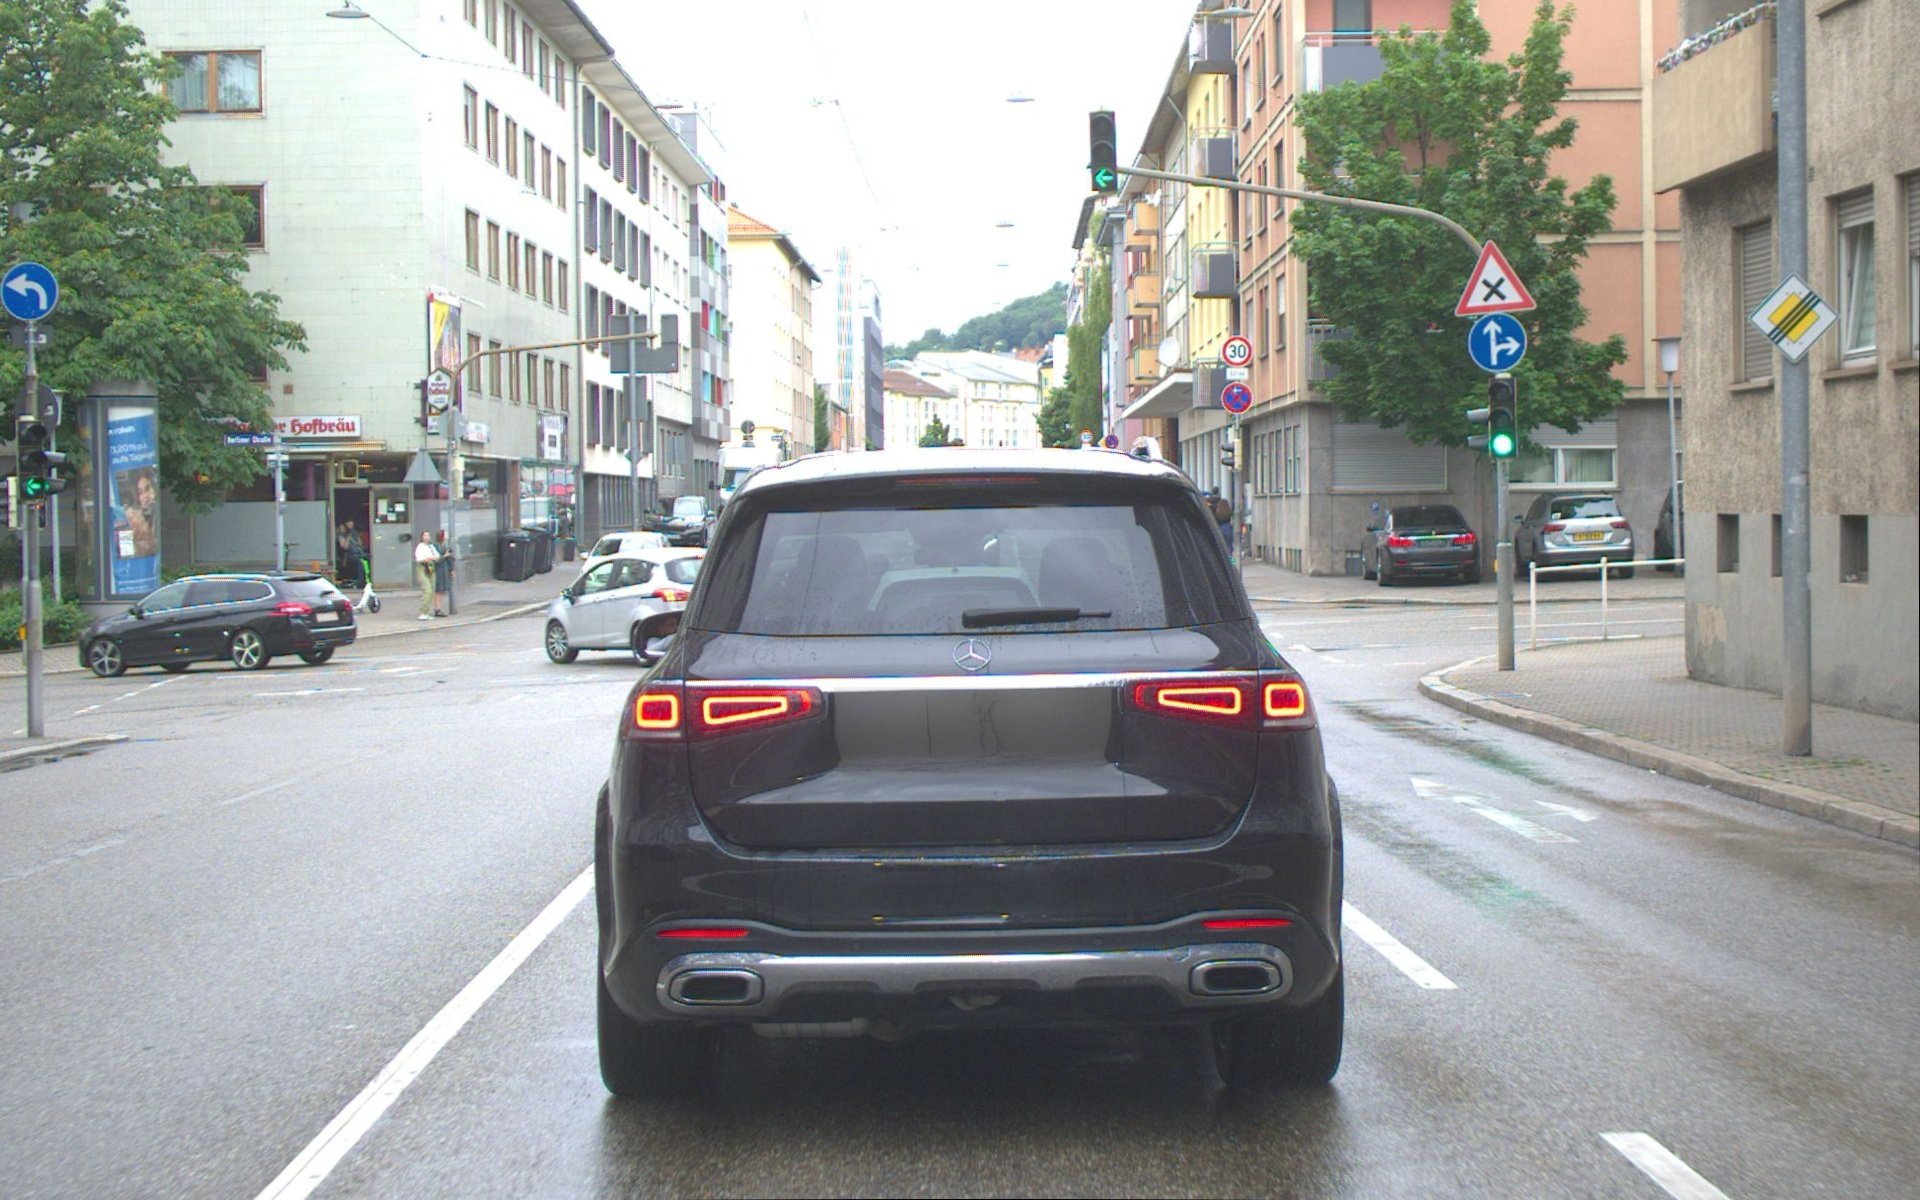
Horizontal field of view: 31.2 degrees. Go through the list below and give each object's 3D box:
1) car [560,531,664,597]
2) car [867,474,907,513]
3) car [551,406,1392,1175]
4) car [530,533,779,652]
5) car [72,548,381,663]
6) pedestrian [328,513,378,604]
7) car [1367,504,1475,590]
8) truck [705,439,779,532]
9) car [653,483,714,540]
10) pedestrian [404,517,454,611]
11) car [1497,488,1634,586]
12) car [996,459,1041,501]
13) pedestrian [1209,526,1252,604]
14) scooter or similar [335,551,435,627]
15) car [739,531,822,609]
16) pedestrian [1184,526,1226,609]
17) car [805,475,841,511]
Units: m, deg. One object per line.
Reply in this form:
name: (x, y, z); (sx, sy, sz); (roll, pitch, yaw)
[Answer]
car: (-7.215, -0.733, 71.606); (1.885, 1.260, 4.218); (-2, 0, -3)
car: (-3.195, -4.639, 150.138); (1.618, 1.534, 4.218); (-2, 0, -3)
car: (0.004, 0.469, 10.591); (1.985, 1.799, 4.390); (2, 0, -1)
car: (-4.296, -0.090, 47.845); (1.772, 1.534, 3.762); (-2, 0, -35)
car: (-11.137, 0.086, 52.154); (4.350, 1.534, 1.776); (-2, 2, 26)
pedestrian: (-12.807, -0.874, 72.516); (0.923, 1.895, 0.706); (-1, 1, -2)
car: (8.724, -1.003, 65.269); (1.671, 1.583, 3.330); (-1, 1, 2)
truck: (-8.047, -4.177, 127.700); (2.479, 3.035, 9.921); (-2, 0, -3)
car: (-8.213, -2.620, 102.291); (1.618, 1.534, 4.218); (-2, 0, -3)
pedestrian: (-10.041, -0.687, 65.045); (0.636, 1.758, 0.772); (-1, 1, 16)
car: (11.451, -1.183, 65.245); (1.823, 1.789, 3.832); (-1, 1, -1)
car: (2.663, -5.433, 156.174); (1.723, 1.754, 4.218); (-2, 1, -3)
pedestrian: (6.319, -0.813, 80.361); (0.923, 1.798, 0.706); (-1, 1, -2)
scooter or similar: (-11.232, -0.227, 67.188); (0.877, 1.455, 1.853); (0, 1, 33)
car: (-3.745, -0.614, 71.873); (1.618, 1.534, 4.218); (-2, 0, -3)
pedestrian: (5.971, -0.797, 83.941); (0.923, 2.007, 0.706); (-1, 1, -2)
car: (-6.561, -5.097, 164.340); (1.618, 1.534, 4.218); (-2, 0, -3)
